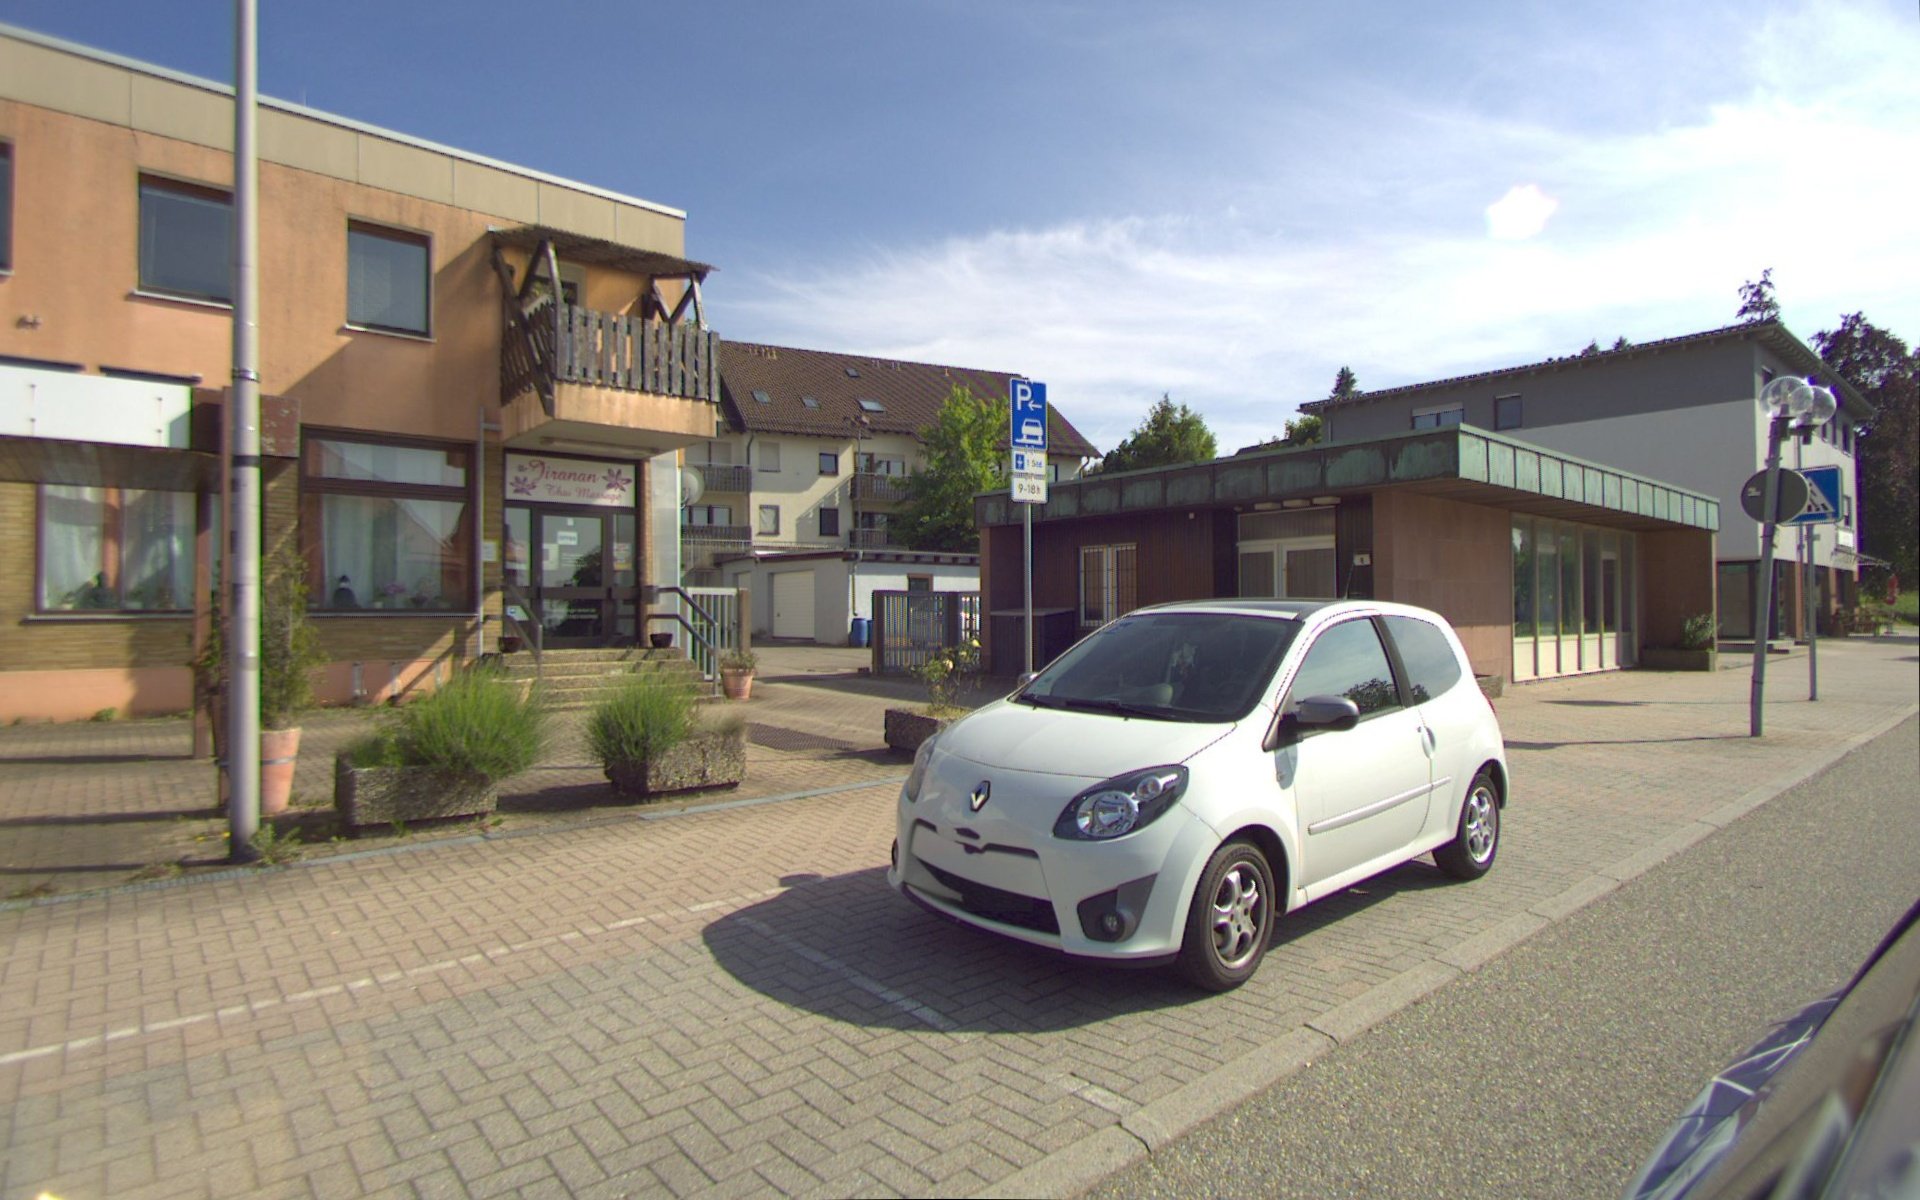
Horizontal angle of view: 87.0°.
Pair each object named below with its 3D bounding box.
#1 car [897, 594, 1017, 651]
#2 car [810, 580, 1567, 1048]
[{"bbox_3d":[-0.061,0.621,29.233,3.255,1.502,1.491,0,2,-39],"label":"car"},{"bbox_3d":[1.274,0.668,4.982,3.567,1.441,1.765,0,1,-38],"label":"car"}]
